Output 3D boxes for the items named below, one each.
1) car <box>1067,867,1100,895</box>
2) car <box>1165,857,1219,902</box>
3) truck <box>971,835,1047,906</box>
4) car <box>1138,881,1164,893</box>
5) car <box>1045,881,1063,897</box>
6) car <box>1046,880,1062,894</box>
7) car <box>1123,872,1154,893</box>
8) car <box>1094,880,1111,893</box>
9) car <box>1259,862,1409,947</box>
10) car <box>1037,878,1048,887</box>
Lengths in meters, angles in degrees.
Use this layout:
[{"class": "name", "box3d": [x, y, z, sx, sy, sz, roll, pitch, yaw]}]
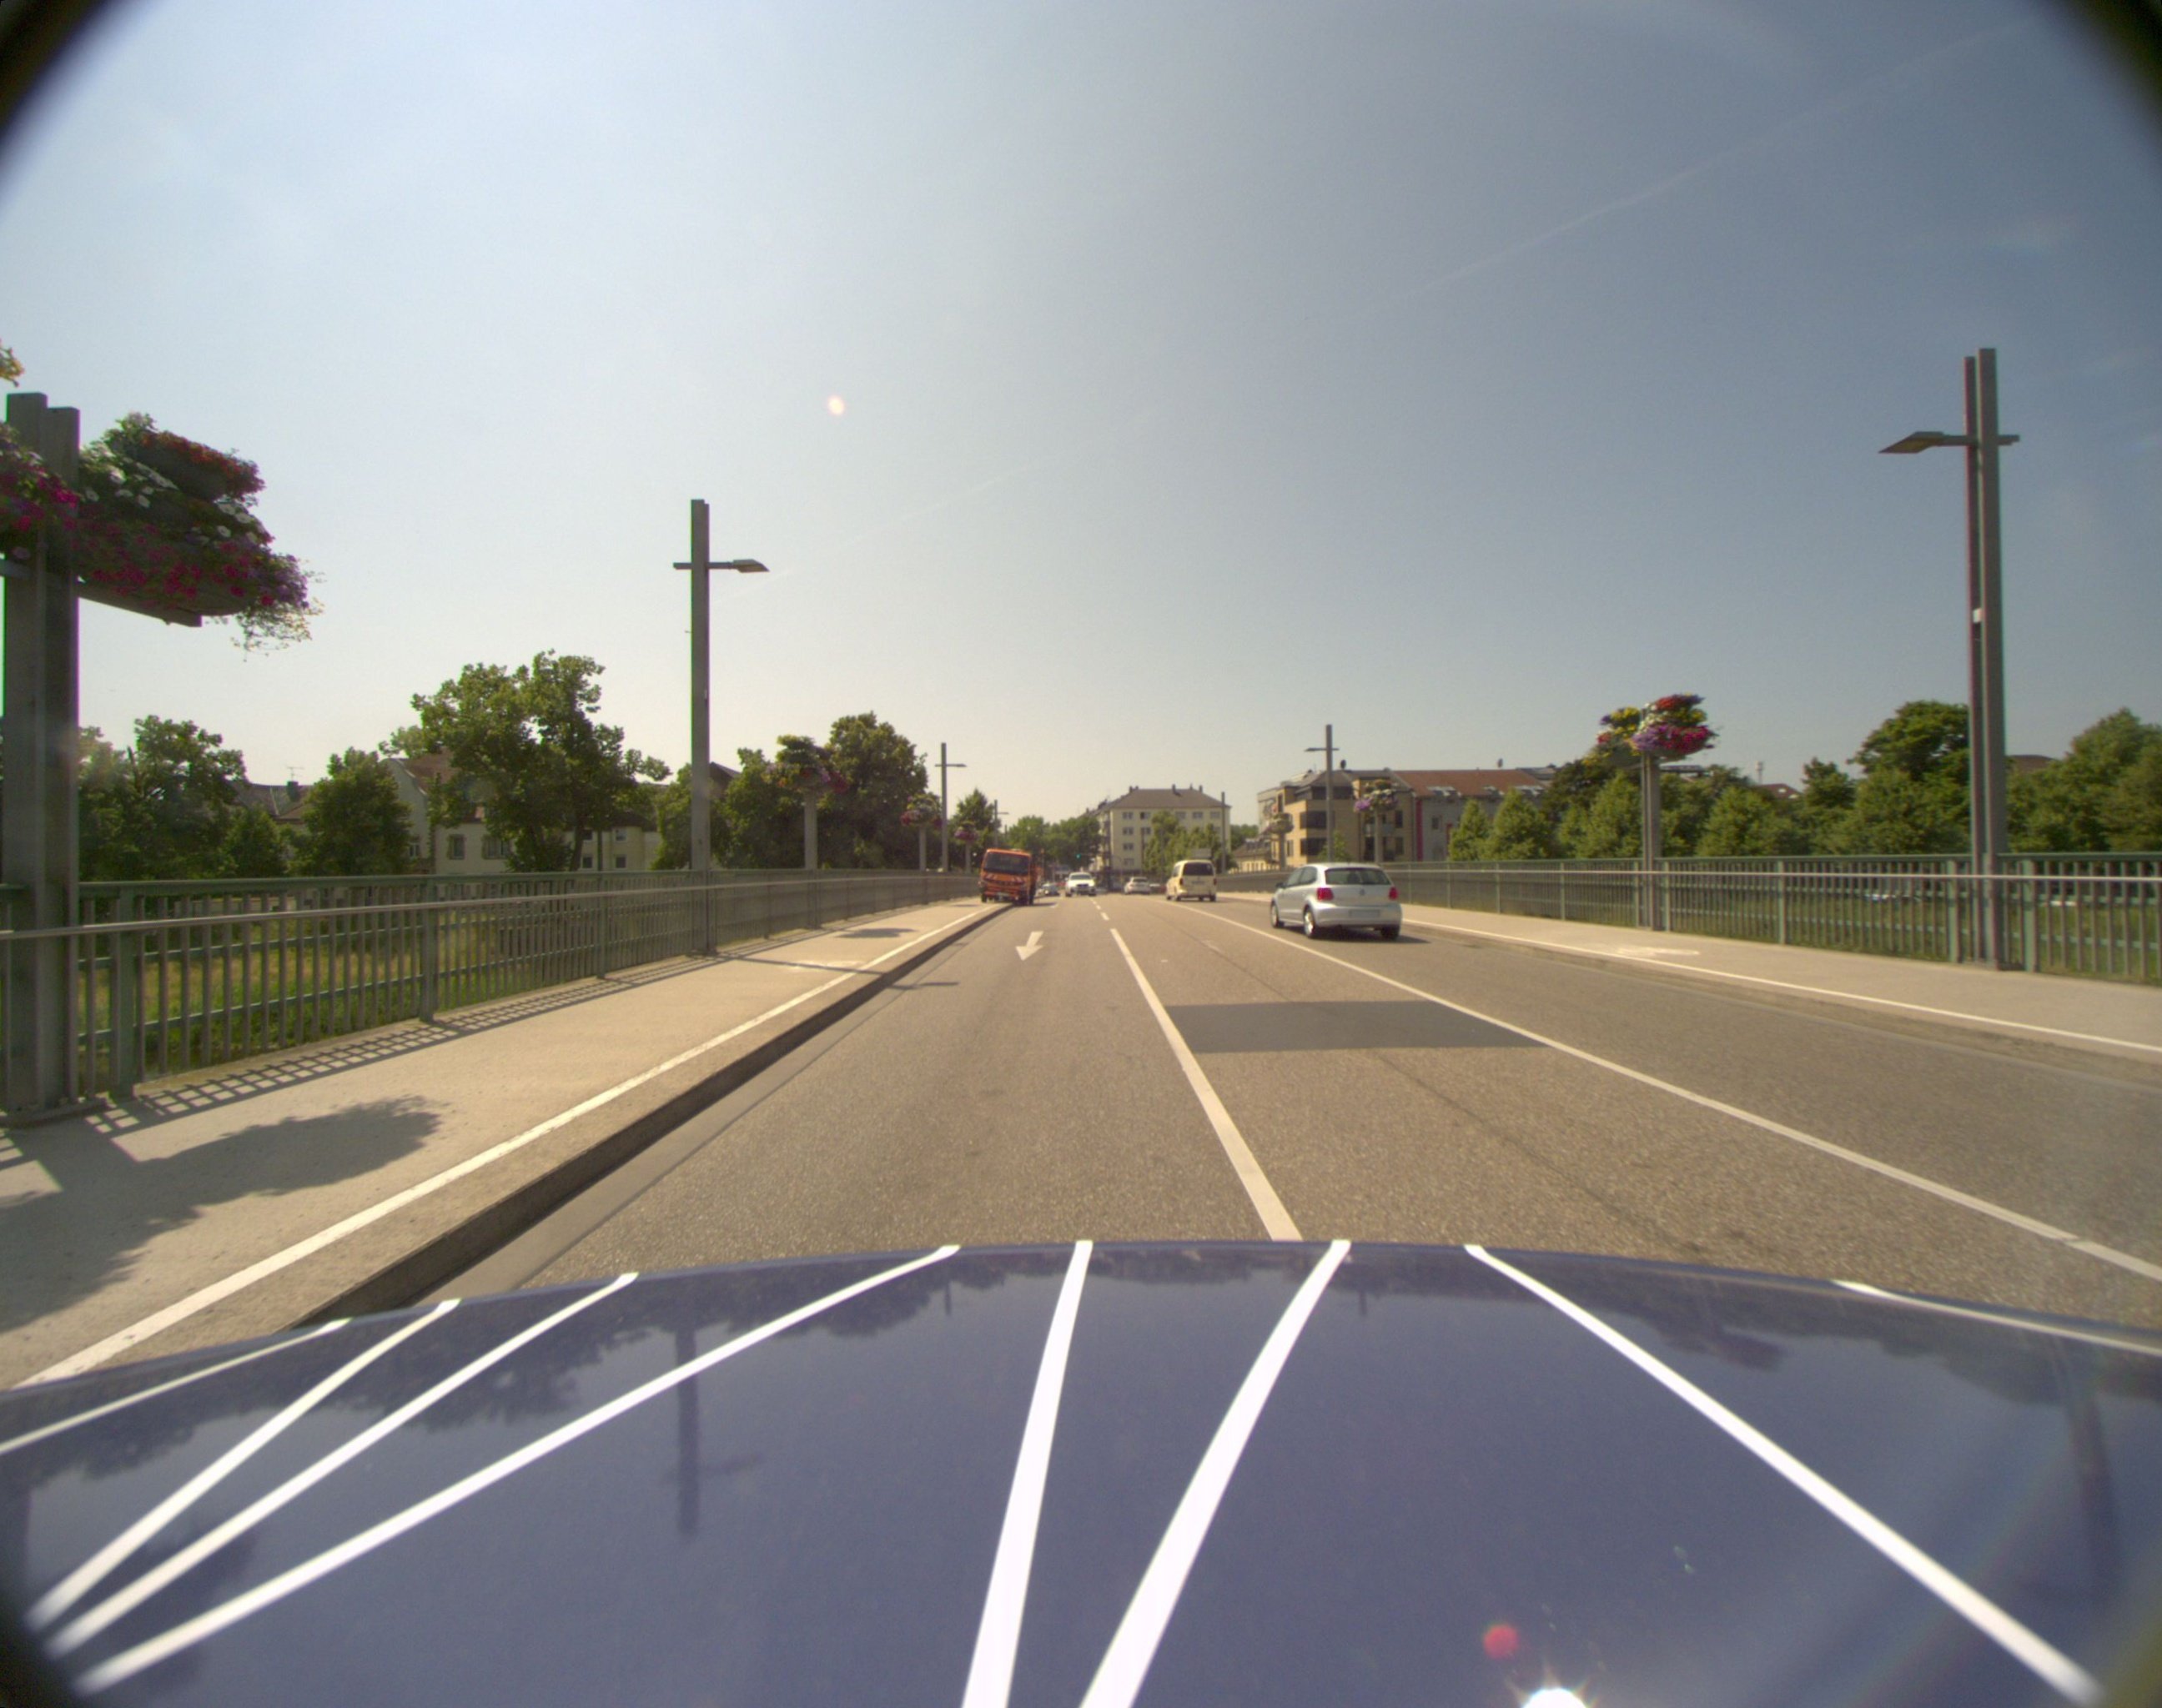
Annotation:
[{"class": "car", "box3d": [0.133, 1.796, 51.649, 1.999, 1.739, 4.445, -2, -1, -2]}, {"class": "car", "box3d": [4.984, 1.107, 34.591, 1.763, 1.846, 4.647, -2, -1, 1]}, {"class": "truck", "box3d": [-3.000, 0.741, 33.226, 2.612, 2.674, 5.824, 3, -2, 0]}, {"class": "car", "box3d": [11.190, 5.274, 121.663, 3.698, 1.725, 1.892, 2, -1, -10]}, {"class": "car", "box3d": [-2.960, 3.825, 82.988, 1.777, 1.480, 3.998, -2, 0, -5]}, {"class": "car", "box3d": [-3.935, 4.805, 111.910, 1.842, 1.848, 4.662, -4, -2, -7]}, {"class": "car", "box3d": [4.644, 2.301, 61.968, 1.849, 1.424, 4.713, -6, 0, -1]}, {"class": "car", "box3d": [2.561, 3.925, 92.101, 1.703, 1.350, 4.458, -5, -3, -2]}, {"class": "car", "box3d": [4.984, 0.926, 15.559, 1.765, 1.510, 4.000, 0, -1, 1]}, {"class": "car", "box3d": [-7.840, 5.797, 155.767, 1.743, 1.630, 3.918, 1, -1, -11]}]
